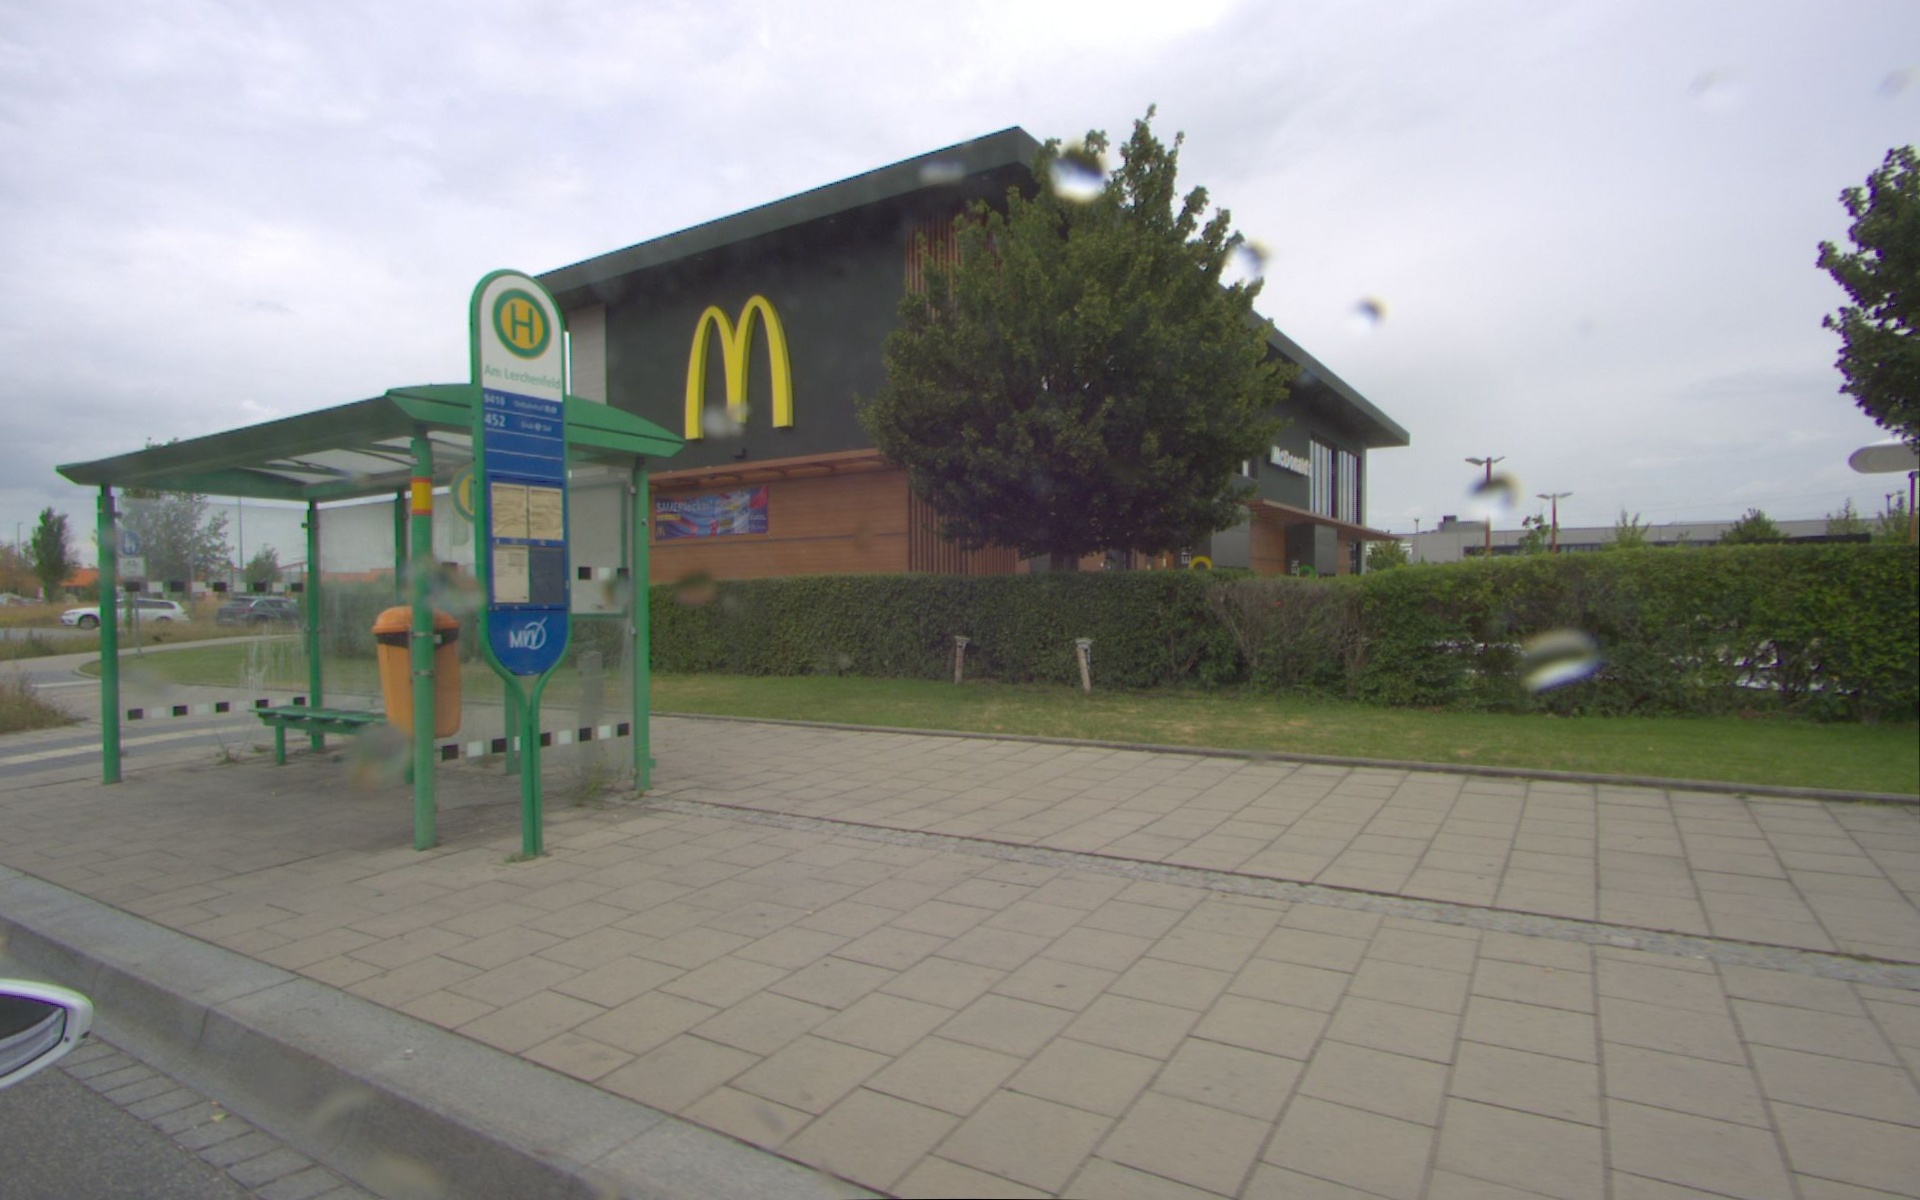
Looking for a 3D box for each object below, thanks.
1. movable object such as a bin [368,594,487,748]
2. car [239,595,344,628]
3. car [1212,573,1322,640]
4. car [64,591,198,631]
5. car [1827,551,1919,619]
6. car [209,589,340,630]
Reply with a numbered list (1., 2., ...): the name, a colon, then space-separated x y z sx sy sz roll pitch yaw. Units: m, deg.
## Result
1. movable object such as a bin: -2.937 0.375 5.535 0.374 0.808 0.455 0 0 32
2. car: -34.254 0.596 51.385 1.973 1.625 4.086 0 0 35
3. car: 8.675 0.191 28.080 1.972 1.739 3.978 0 0 33
4. car: -38.122 0.497 46.129 1.978 1.780 4.576 0 0 43
5. car: 37.377 -0.582 38.848 5.931 2.562 2.280 0 1 -7
6. car: -29.048 0.372 42.568 2.028 1.614 4.194 0 1 19
